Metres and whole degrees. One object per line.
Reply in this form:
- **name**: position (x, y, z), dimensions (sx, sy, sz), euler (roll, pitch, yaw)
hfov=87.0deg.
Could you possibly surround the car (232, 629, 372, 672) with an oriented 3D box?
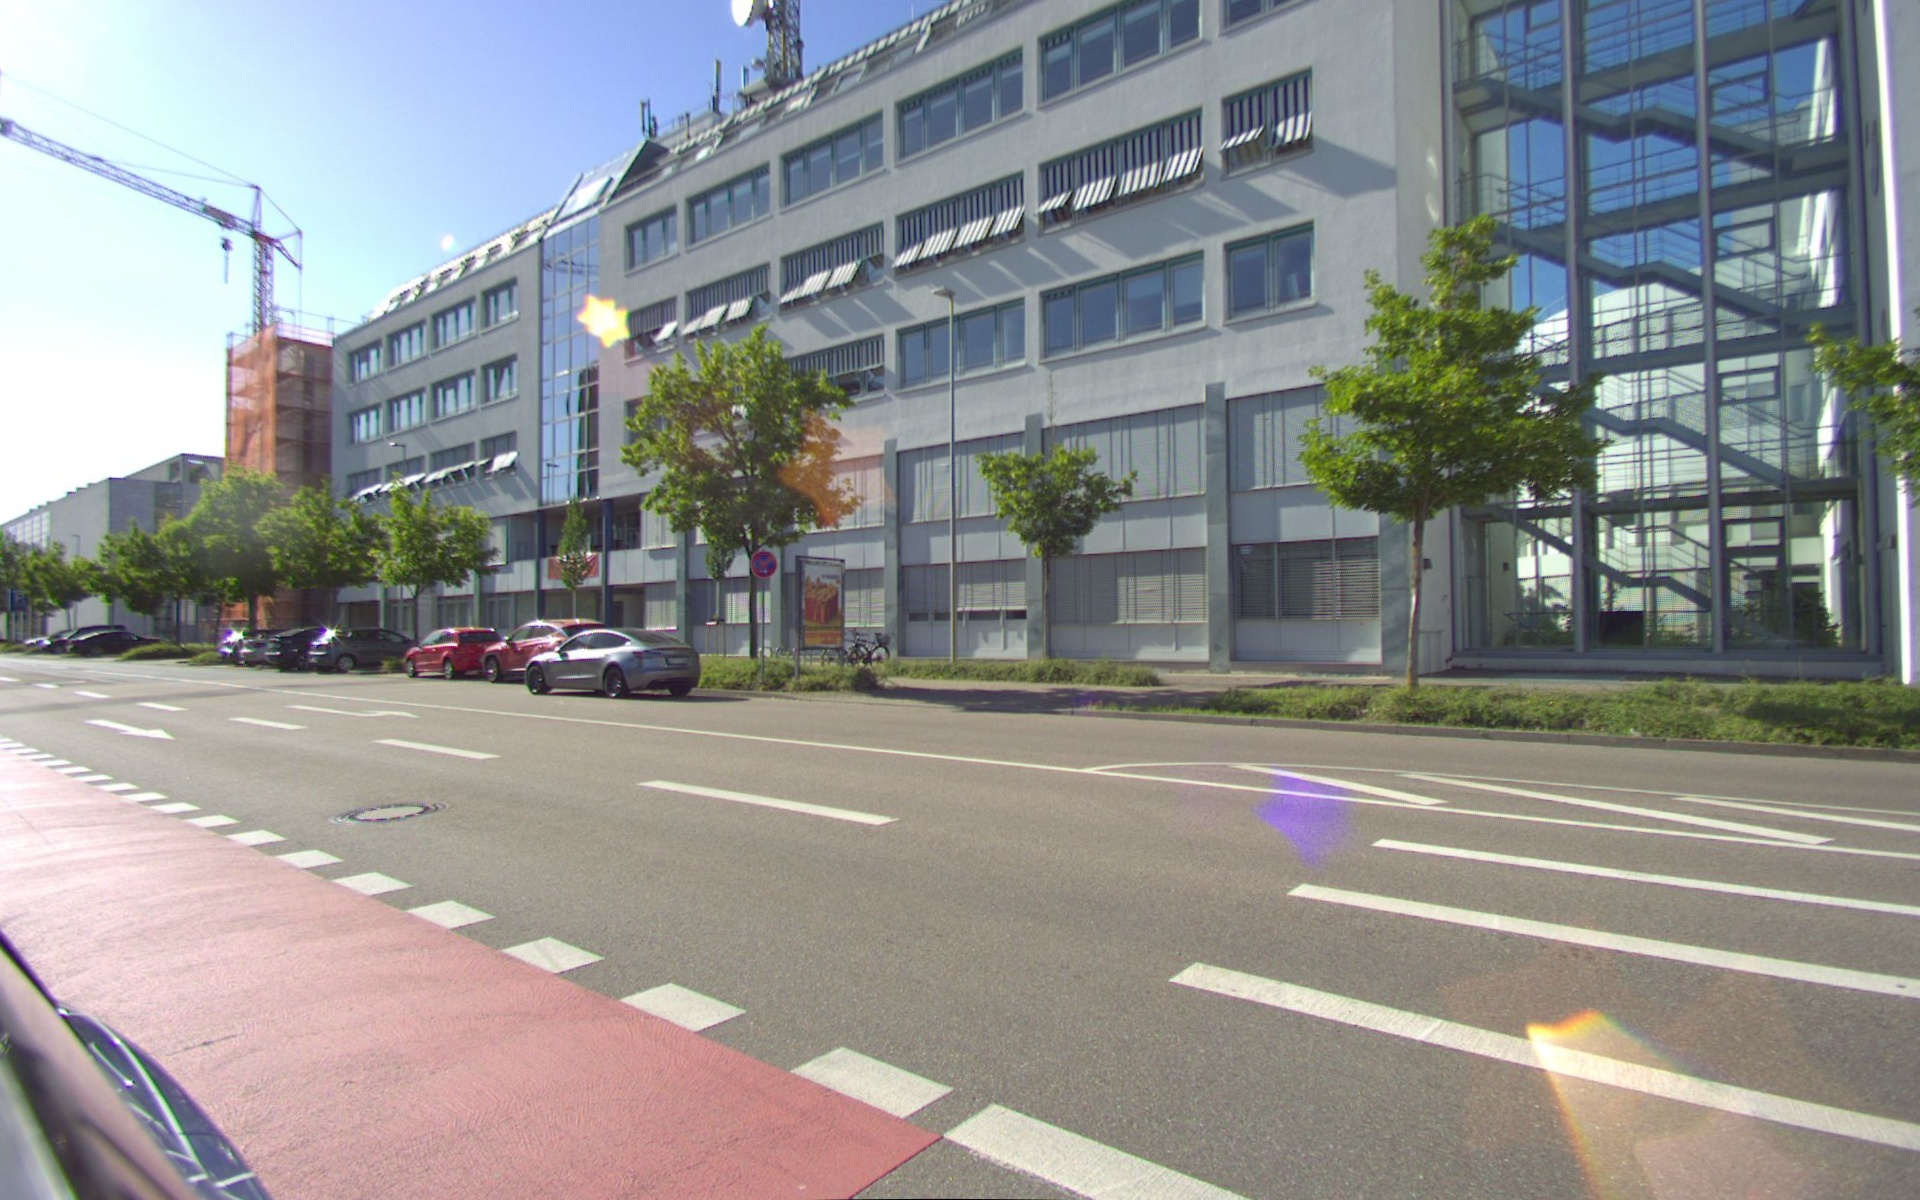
- **car**: position (-26.000, 1.960, 40.125), dimensions (1.691, 1.443, 4.345), euler (-2, 0, 37)

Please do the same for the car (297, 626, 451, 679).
- **car**: position (-20.379, 1.782, 35.373), dimensions (1.689, 1.549, 4.349), euler (-2, 0, 34)

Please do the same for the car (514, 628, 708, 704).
- **car**: position (-7.593, 1.373, 21.820), dimensions (4.538, 1.479, 1.673), euler (-2, -3, 36)

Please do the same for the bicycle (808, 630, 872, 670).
- **bicycle**: position (-3.279, 1.370, 27.746), dimensions (1.746, 1.077, 0.556), euler (3, -4, -44)

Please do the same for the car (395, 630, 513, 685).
- **car**: position (-15.034, 1.655, 29.974), dimensions (3.867, 1.443, 1.671), euler (-2, 0, 39)

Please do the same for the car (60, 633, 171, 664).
- **car**: position (-46.737, 2.644, 56.062), dimensions (1.973, 1.443, 4.348), euler (-2, 0, 35)

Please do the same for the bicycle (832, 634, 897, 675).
- **bicycle**: position (-2.570, 1.470, 27.391), dimensions (1.767, 1.077, 0.622), euler (3, -4, -44)

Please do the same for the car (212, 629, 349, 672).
- **car**: position (-27.730, 2.024, 41.435), dimensions (1.691, 1.443, 4.344), euler (-2, 0, 37)

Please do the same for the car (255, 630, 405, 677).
- **car**: position (-22.954, 1.904, 37.025), dimensions (1.690, 1.443, 4.346), euler (-2, 0, 36)

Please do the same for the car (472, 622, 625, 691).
- **car**: position (-10.938, 1.458, 26.800), dimensions (4.300, 1.619, 1.674), euler (-2, 0, 35)

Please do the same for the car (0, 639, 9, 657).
- **car**: position (-85.916, 4.259, 88.139), dimensions (1.716, 1.525, 4.263), euler (-2, 0, 38)
